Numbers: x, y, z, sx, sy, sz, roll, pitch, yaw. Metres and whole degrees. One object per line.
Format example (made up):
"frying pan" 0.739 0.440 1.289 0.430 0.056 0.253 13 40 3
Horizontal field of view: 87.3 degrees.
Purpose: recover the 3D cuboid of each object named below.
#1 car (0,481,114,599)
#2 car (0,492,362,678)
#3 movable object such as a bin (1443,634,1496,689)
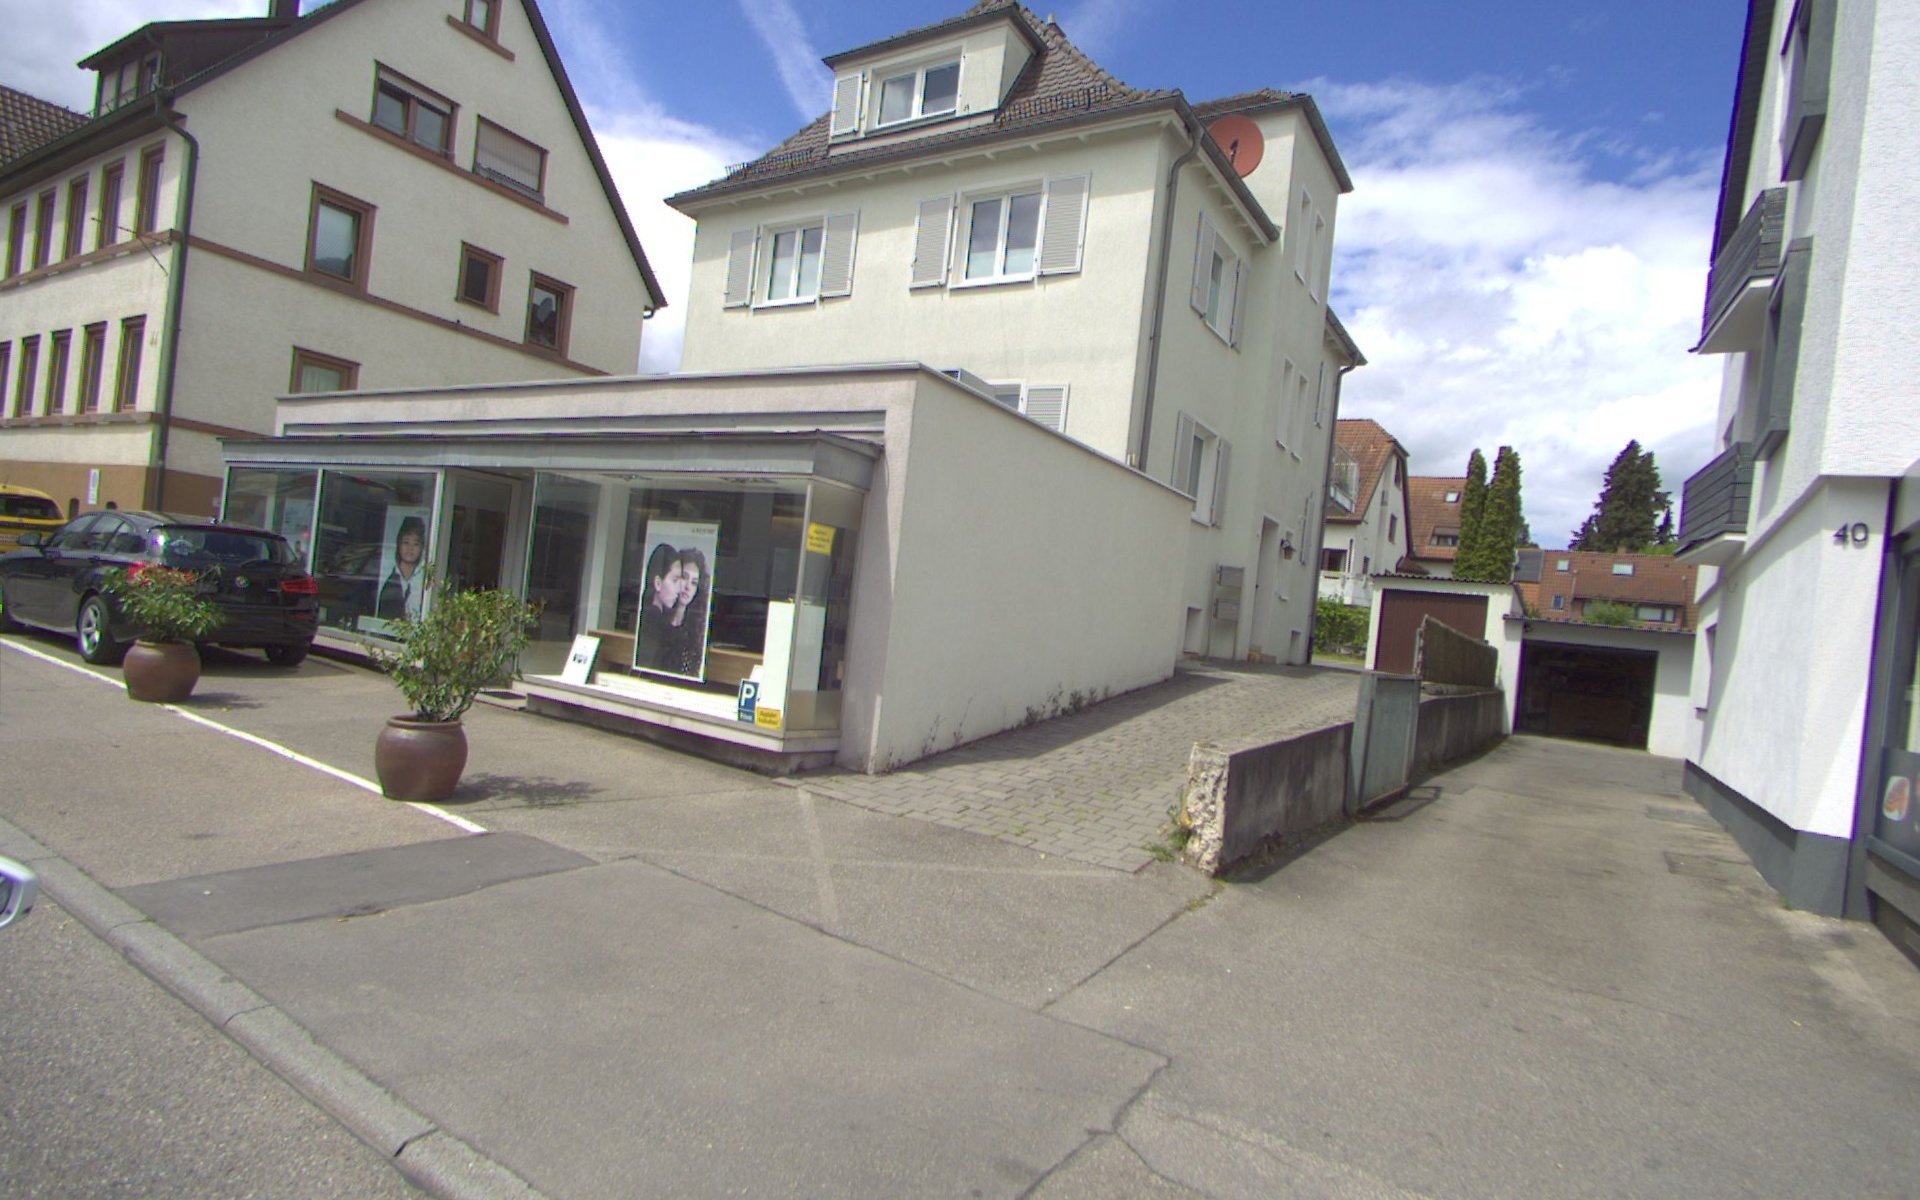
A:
"car" -15.192 -1.085 15.595 4.235 1.466 1.879 9 1 32
"car" -8.538 -0.211 10.560 4.460 1.465 1.970 7 0 32
"movable object such as a bin" 11.279 1.362 22.265 0.849 1.092 1.278 7 0 32
